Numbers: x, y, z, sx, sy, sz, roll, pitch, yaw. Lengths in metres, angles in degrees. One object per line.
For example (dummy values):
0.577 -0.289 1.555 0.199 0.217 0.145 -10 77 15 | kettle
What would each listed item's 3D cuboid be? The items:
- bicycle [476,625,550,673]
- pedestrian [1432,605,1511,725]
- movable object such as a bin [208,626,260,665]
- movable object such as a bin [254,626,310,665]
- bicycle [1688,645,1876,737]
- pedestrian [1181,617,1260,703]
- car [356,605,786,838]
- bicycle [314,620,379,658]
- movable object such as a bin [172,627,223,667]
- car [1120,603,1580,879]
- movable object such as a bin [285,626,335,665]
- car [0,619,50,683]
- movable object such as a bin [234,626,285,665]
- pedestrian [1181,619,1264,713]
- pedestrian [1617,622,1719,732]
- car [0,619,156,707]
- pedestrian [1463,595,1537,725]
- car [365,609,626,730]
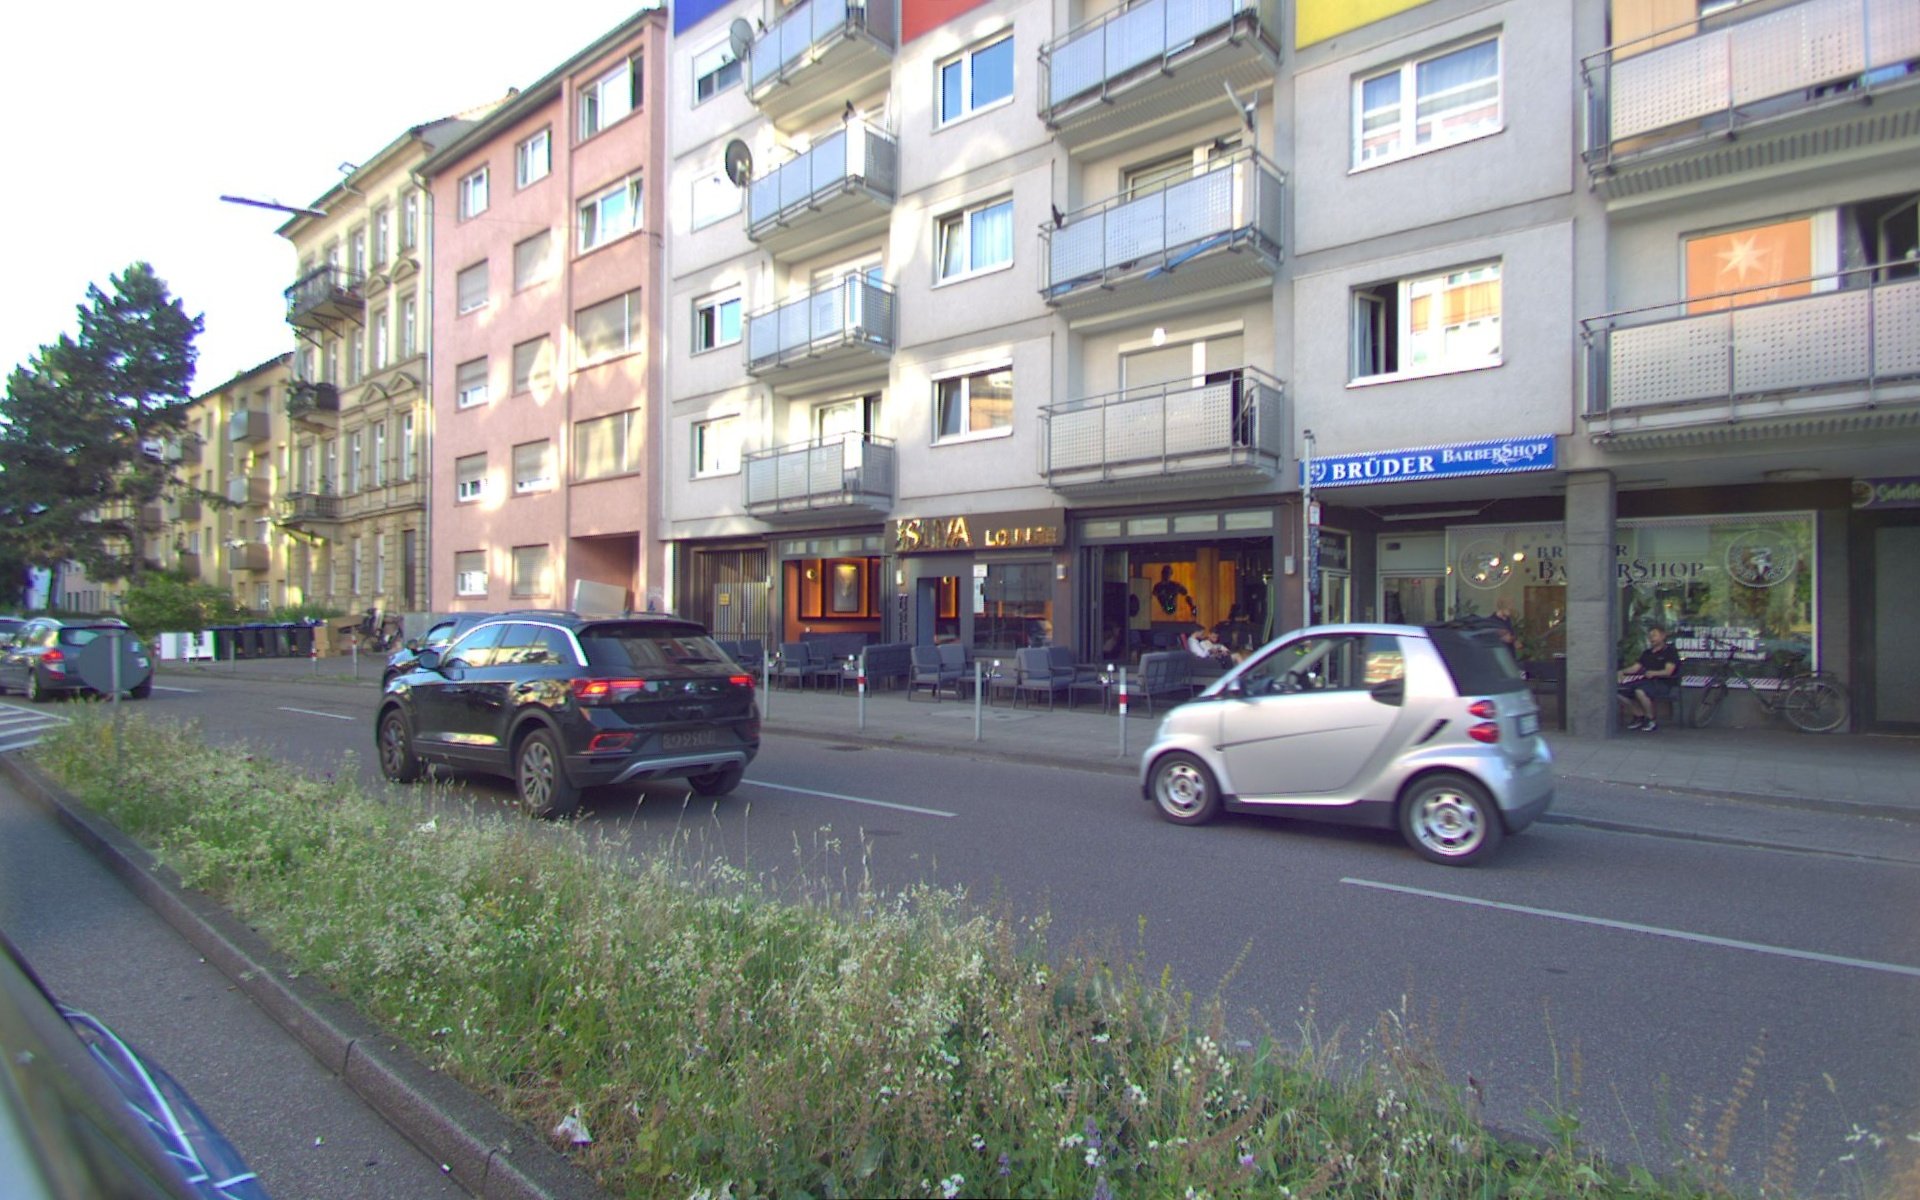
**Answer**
-11.614 1.253 26.332 0.473 1.200 1.758 -1 -2 38 | bicycle
6.498 0.807 12.866 0.647 1.478 0.627 1 -2 -30 | pedestrian
-23.665 1.485 33.002 0.837 1.242 1.193 0 -1 1 | movable object such as a bin
-21.868 1.460 32.658 0.916 1.242 1.292 0 -1 1 | movable object such as a bin
9.980 1.078 12.366 1.691 1.006 0.620 0 -1 32 | bicycle
4.290 0.968 16.667 0.974 1.357 0.871 -1 -2 40 | pedestrian
-3.500 0.888 8.762 4.098 1.556 1.658 -2 -3 39 | car
-19.991 1.257 32.994 0.473 1.200 1.758 -1 -2 38 | bicycle
-24.589 1.498 32.670 0.836 1.242 1.195 0 -1 -8 | movable object such as a bin
2.777 0.877 7.419 2.806 1.605 1.519 -2 -3 41 | car
-20.940 1.450 32.607 0.837 1.242 1.193 0 -1 1 | movable object such as a bin
-24.197 1.223 24.727 4.232 1.499 1.740 -1 -2 31 | car
-22.795 1.474 32.943 0.837 1.242 1.193 0 -1 1 | movable object such as a bin
3.987 0.973 15.354 0.882 1.357 0.961 -1 -2 40 | pedestrian
8.802 0.940 12.605 0.798 1.323 0.626 0 -1 -3 | pedestrian
-16.684 1.115 18.856 3.976 1.482 1.578 -1 -3 35 | car
7.156 0.780 13.429 0.650 1.685 0.625 0 -1 5 | pedestrian
-7.212 1.013 15.612 4.090 1.641 1.706 -1 -3 33 | car
